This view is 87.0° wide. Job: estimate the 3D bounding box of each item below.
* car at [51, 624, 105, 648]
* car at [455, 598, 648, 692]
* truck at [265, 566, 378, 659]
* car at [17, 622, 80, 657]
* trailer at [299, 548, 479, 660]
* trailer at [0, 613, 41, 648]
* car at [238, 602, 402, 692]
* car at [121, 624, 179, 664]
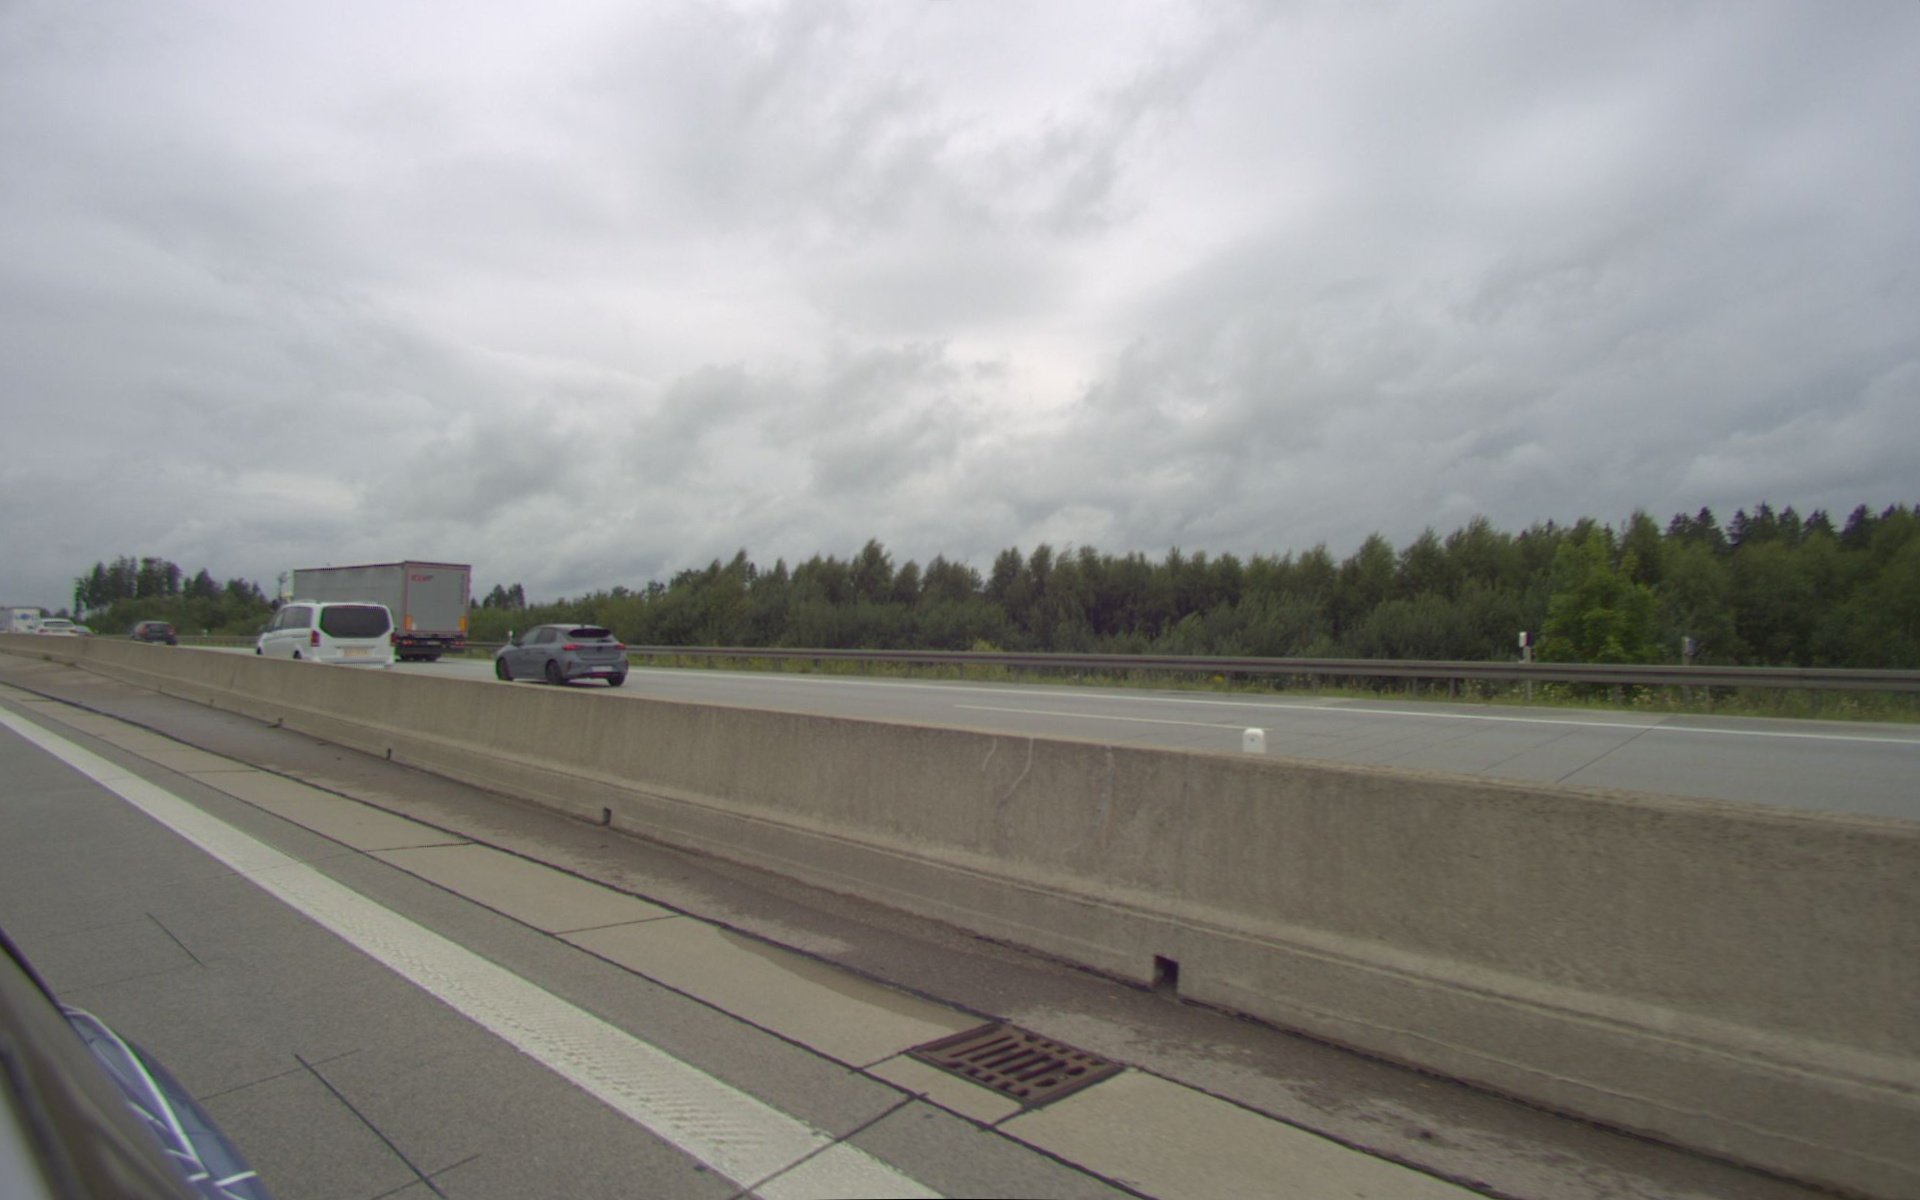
[{"bbox_3d":[-62.702,2.559,71.918,5.264,1.679,2.013,-2,-4,40],"label":"car"},{"bbox_3d":[-10.025,1.112,24.534,5.922,2.029,1.894,-3,-4,42],"label":"car"},{"bbox_3d":[-30.781,0.735,48.698,5.853,4.212,2.901,-3,-4,41],"label":"truck"},{"bbox_3d":[-50.658,2.189,56.240,4.601,1.882,2.013,-2,-4,41],"label":"car"},{"bbox_3d":[-24.665,0.433,43.301,11.867,4.250,2.888,-3,-4,41],"label":"trailer"},{"bbox_3d":[-115.906,3.878,124.236,13.006,4.034,2.858,-3,-4,41],"label":"trailer"},{"bbox_3d":[-16.222,1.209,25.494,5.922,2.029,1.894,-3,-4,42],"label":"car"},{"bbox_3d":[-43.515,2.385,54.346,3.997,2.029,1.628,-3,-4,40],"label":"car"}]
